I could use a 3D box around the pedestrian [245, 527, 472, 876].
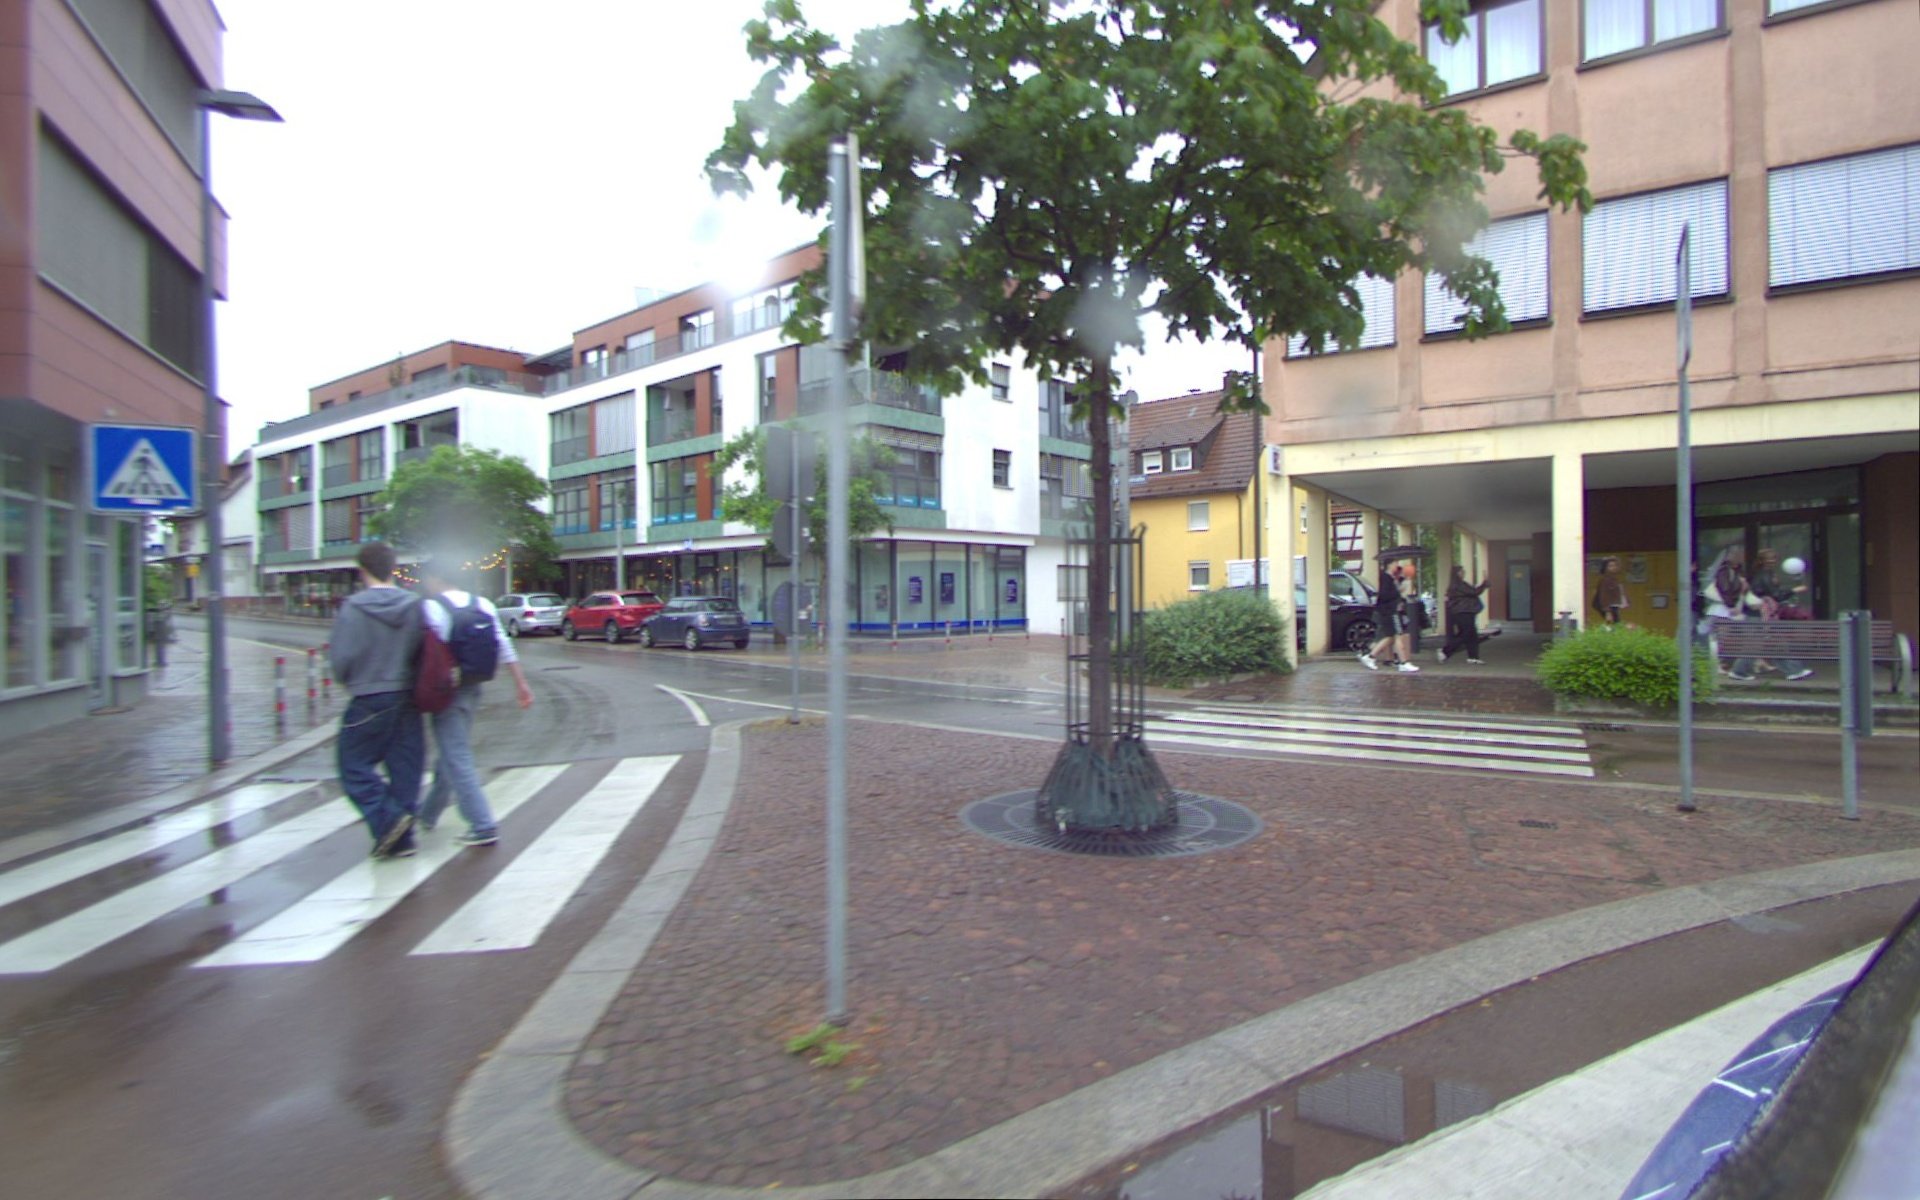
[{"bbox_3d":[-3.476,0.527,5.855,1.049,1.823,0.687,-1,0,30],"label":"pedestrian"}]

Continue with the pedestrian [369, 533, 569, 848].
[{"bbox_3d":[-3.126,0.524,6.446,1.052,1.829,0.658,-1,0,31],"label":"pedestrian"}]

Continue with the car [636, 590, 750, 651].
[{"bbox_3d":[-7.255,0.503,27.362,1.517,1.378,3.364,-3,4,-45],"label":"car"}]

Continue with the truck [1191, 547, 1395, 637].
[{"bbox_3d":[7.350,-0.161,22.433,3.971,1.831,1.748,-1,1,34],"label":"truck"}]

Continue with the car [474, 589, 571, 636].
[{"bbox_3d":[-15.057,0.389,34.734,3.986,1.430,1.597,1,4,44],"label":"car"}]

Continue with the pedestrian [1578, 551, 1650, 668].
[{"bbox_3d":[9.447,0.116,14.610,0.821,1.623,0.735,0,3,37],"label":"pedestrian"}]

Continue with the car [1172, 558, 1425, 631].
[{"bbox_3d":[6.600,-0.099,19.930,4.439,1.292,1.748,-1,1,34],"label":"car"}]

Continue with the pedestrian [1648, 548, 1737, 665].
[{"bbox_3d":[10.642,0.082,14.712,0.780,1.639,0.710,-1,0,-18],"label":"pedestrian"}]

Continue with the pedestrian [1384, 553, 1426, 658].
[{"bbox_3d":[7.261,0.087,16.526,0.517,1.684,0.535,-1,0,35],"label":"pedestrian"}]

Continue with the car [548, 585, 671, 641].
[{"bbox_3d":[-10.749,0.360,30.933,3.978,1.519,1.608,0,3,38],"label":"car"}]

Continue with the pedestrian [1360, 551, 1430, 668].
[{"bbox_3d":[6.829,0.139,15.891,0.886,1.770,0.727,-1,0,33],"label":"pedestrian"}]

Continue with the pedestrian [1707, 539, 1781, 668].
[{"bbox_3d":[10.787,0.043,13.943,0.728,1.711,0.716,-1,0,34],"label":"pedestrian"}]

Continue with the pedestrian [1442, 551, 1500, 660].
[{"bbox_3d":[8.197,0.082,16.226,0.737,1.711,0.628,-1,0,34],"label":"pedestrian"}]

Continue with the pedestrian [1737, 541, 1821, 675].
[{"bbox_3d":[10.686,0.092,13.222,0.816,1.682,0.689,-1,0,39],"label":"pedestrian"}]
